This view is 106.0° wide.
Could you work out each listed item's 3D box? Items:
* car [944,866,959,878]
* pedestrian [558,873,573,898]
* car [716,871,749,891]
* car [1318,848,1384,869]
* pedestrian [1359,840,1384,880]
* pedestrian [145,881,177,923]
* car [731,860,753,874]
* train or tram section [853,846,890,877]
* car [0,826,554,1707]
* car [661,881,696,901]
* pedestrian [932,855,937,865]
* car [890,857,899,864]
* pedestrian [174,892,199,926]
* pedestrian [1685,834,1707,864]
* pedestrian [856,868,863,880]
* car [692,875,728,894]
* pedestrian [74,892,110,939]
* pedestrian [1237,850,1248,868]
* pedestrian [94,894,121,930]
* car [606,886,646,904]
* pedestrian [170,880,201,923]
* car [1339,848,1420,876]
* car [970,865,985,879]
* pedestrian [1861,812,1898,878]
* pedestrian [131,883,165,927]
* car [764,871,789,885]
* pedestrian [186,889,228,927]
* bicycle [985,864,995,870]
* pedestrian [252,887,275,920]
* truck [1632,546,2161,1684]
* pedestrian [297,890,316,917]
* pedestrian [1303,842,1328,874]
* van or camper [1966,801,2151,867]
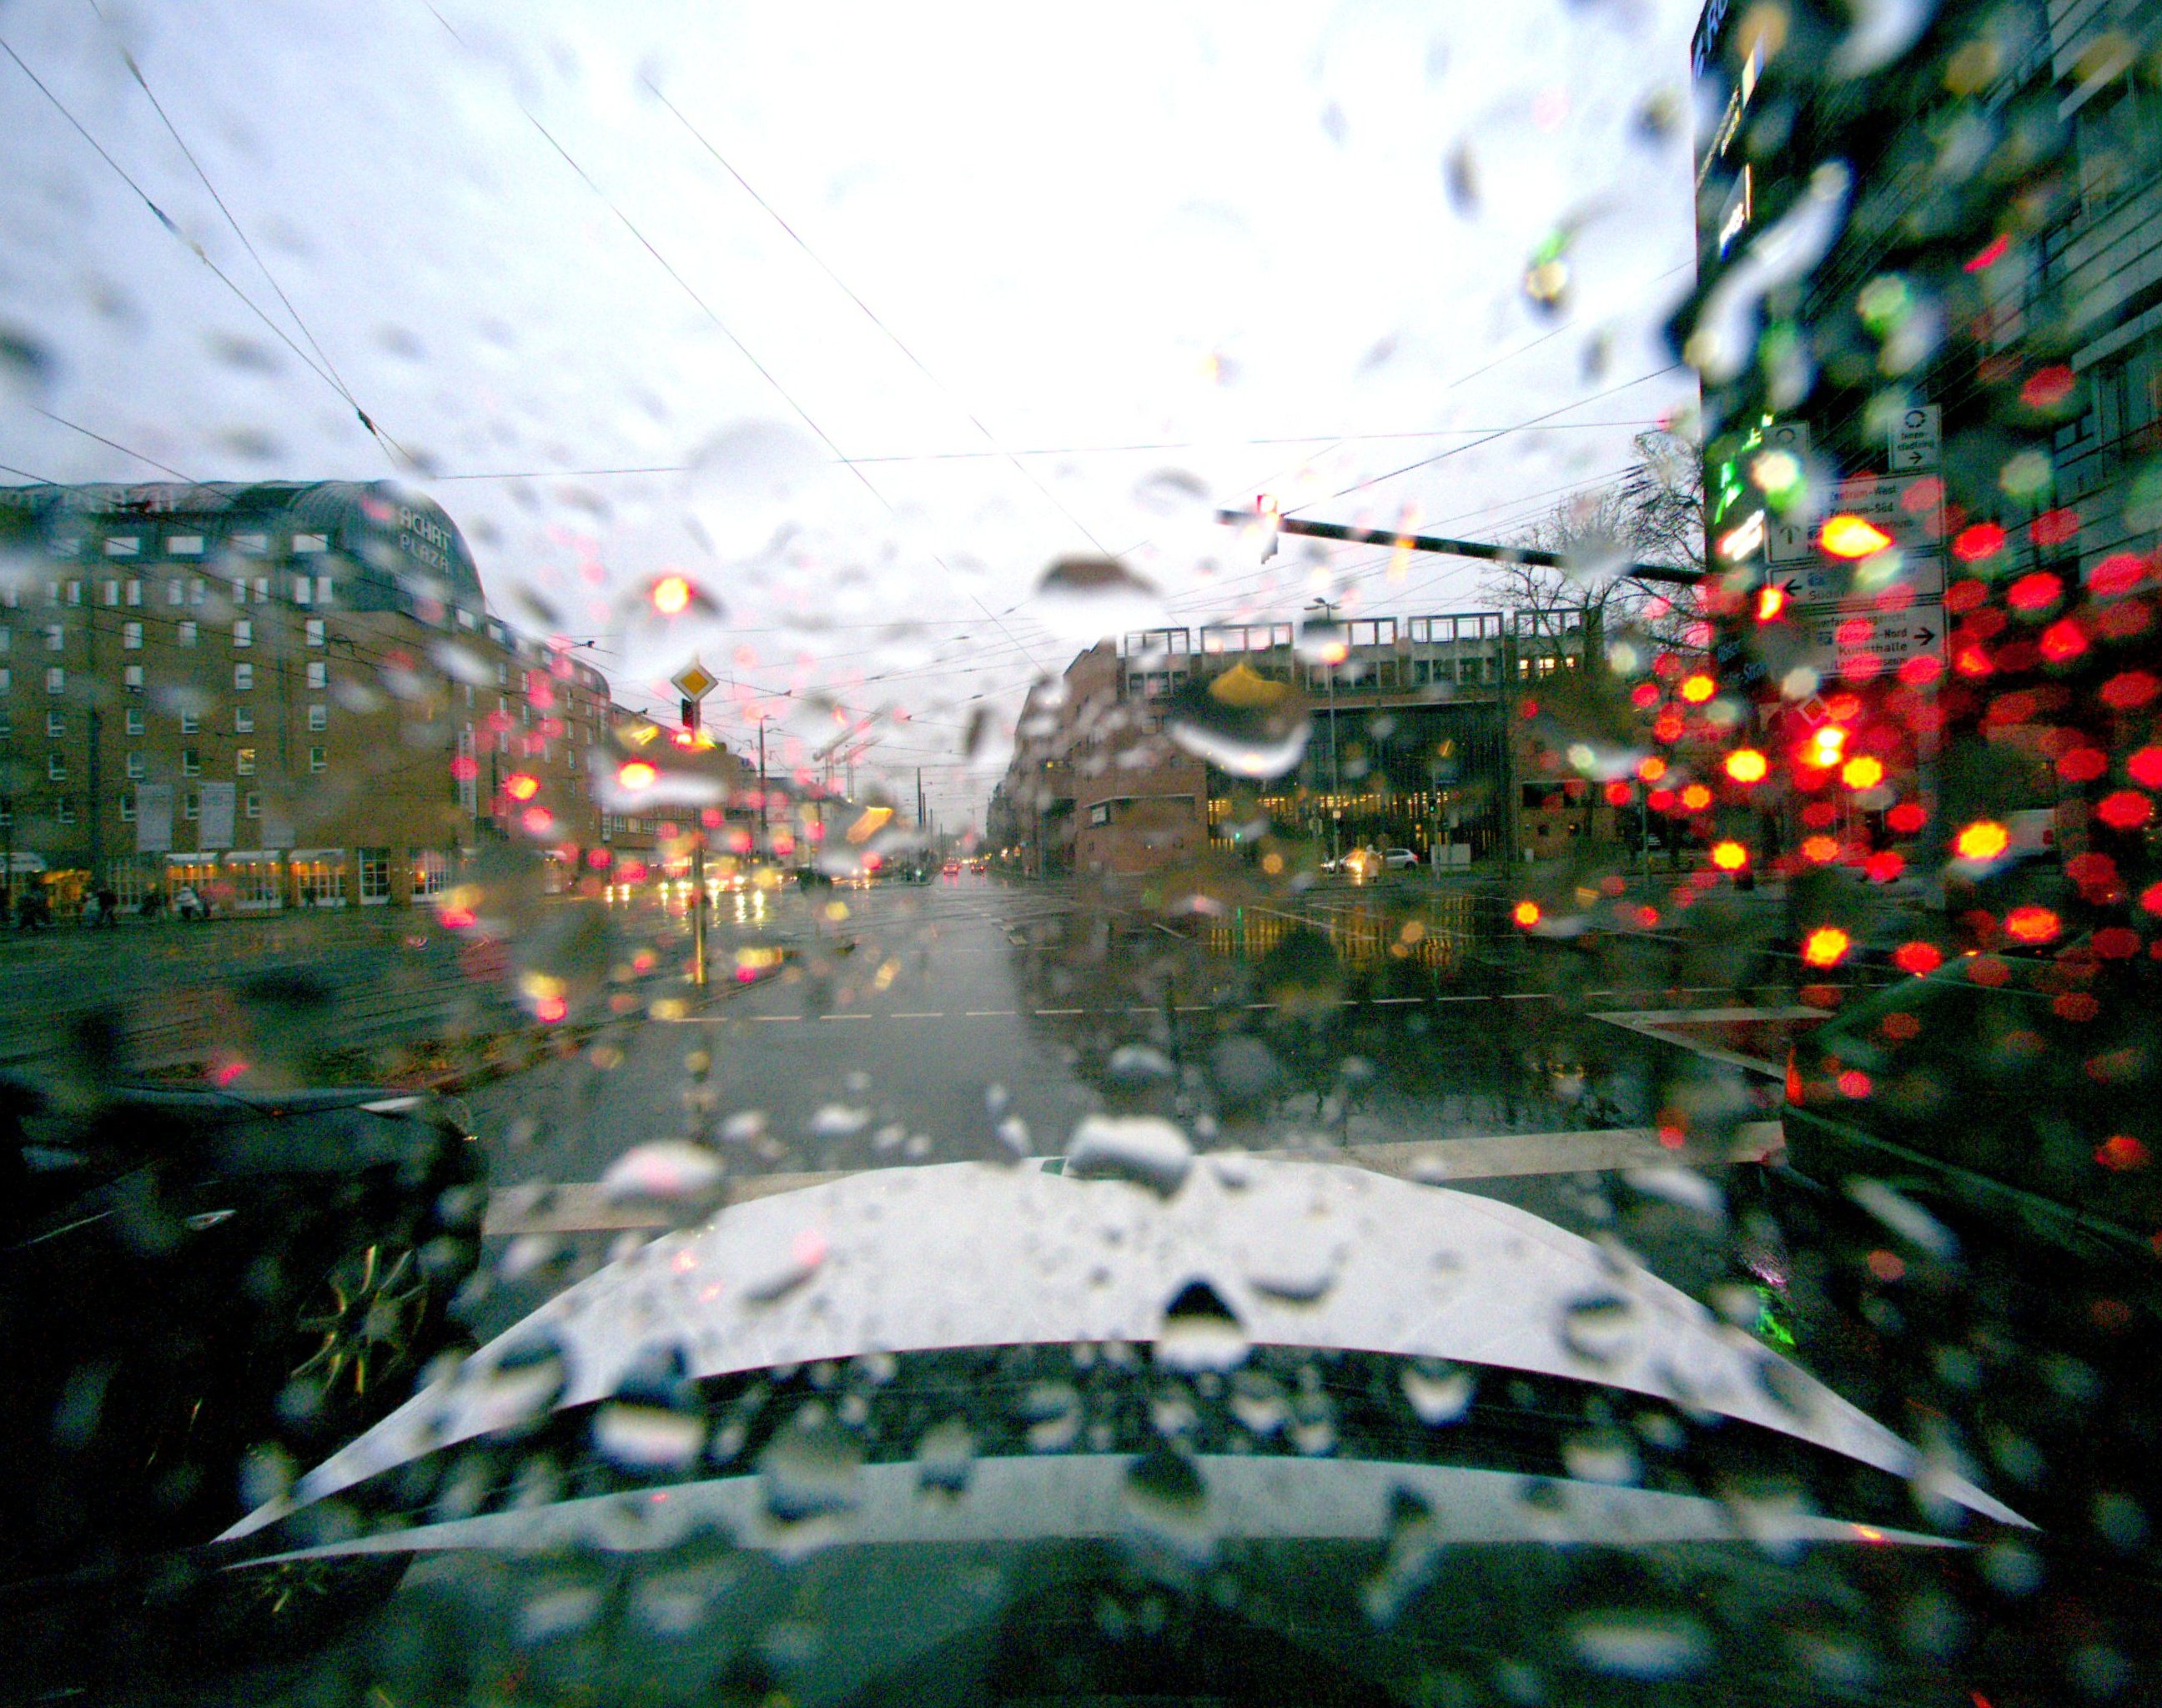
[{"bbox_3d":[-17.365,2.426,109.139,1.782,1.467,3.141,-2,0,-7],"label":"car"},{"bbox_3d":[-42.846,2.582,67.679,0.939,2.014,0.751,-2,-1,-32],"label":"pedestrian"},{"bbox_3d":[-33.745,2.584,78.972,1.828,1.709,4.690,-2,0,-9],"label":"car"},{"bbox_3d":[18.674,0.324,56.392,3.977,1.310,1.810,-2,0,-7],"label":"car"},{"bbox_3d":[13.129,0.273,36.767,0.734,1.787,0.732,-2,0,-12],"label":"pedestrian"},{"bbox_3d":[-45.319,2.352,40.119,0.699,2.014,0.763,-2,-1,17],"label":"pedestrian"},{"bbox_3d":[-47.935,1.811,115.145,1.993,2.014,3.988,0,-1,-9],"label":"car"},{"bbox_3d":[-25.164,0.905,98.239,2.948,3.589,12.220,0,-1,-8],"label":"train or tram section"},{"bbox_3d":[-2.812,0.764,1.015,1.673,1.573,3.763,-2,0,3],"label":"car"},{"bbox_3d":[-35.232,3.224,71.322,1.580,1.495,3.586,-2,0,-7],"label":"car"},{"bbox_3d":[-23.133,0.922,128.843,0.682,1.516,0.614,-1,-1,-21],"label":"pedestrian"},{"bbox_3d":[-40.670,1.383,177.487,1.681,1.354,3.534,-1,-1,-9],"label":"car"},{"bbox_3d":[-42.283,2.608,38.480,0.515,1.538,0.577,-2,0,10],"label":"pedestrian"},{"bbox_3d":[29.483,-0.238,39.042,0.603,1.364,0.478,-2,0,-1],"label":"pedestrian"},{"bbox_3d":[-21.370,1.925,78.475,0.579,1.152,0.489,0,-1,-7],"label":"pedestrian"},{"bbox_3d":[-32.482,2.666,71.447,1.667,1.495,4.190,-2,0,-7],"label":"car"},{"bbox_3d":[-43.765,2.730,36.042,0.699,2.014,0.763,-2,-1,17],"label":"pedestrian"},{"bbox_3d":[12.593,0.386,63.442,0.732,1.389,0.740,-2,0,12],"label":"pedestrian"},{"bbox_3d":[-43.178,2.556,36.120,0.515,1.538,0.577,-2,0,10],"label":"pedestrian"},{"bbox_3d":[-40.087,3.609,71.792,1.611,1.321,4.216,-2,0,-8],"label":"car"},{"bbox_3d":[-43.201,2.299,39.297,0.699,2.014,0.763,-2,-1,17],"label":"pedestrian"},{"bbox_3d":[17.239,0.452,47.178,3.976,1.341,1.810,-4,0,-6],"label":"car"},{"bbox_3d":[-15.411,2.688,121.476,1.991,2.013,3.991,-2,0,-7],"label":"car"},{"bbox_3d":[22.305,-0.242,22.748,0.805,1.811,0.643,-2,-1,-42],"label":"pedestrian"},{"bbox_3d":[-43.744,2.372,38.184,0.755,2.014,0.706,-2,-1,-5],"label":"pedestrian"},{"bbox_3d":[-30.350,2.362,81.218,1.681,1.354,3.534,-1,-1,-9],"label":"car"},{"bbox_3d":[-45.371,2.802,42.293,0.852,1.899,1.165,-2,0,10],"label":"pedestrian"},{"bbox_3d":[-17.115,2.463,153.143,1.730,1.055,0.370,-3,0,-10],"label":"bicycle"},{"bbox_3d":[-39.901,2.403,39.766,0.515,1.538,0.577,-2,0,10],"label":"pedestrian"},{"bbox_3d":[2.761,0.436,0.386,1.898,1.917,4.616,0,0,0],"label":"truck"},{"bbox_3d":[-45.972,2.954,48.338,0.515,1.538,0.577,-2,0,10],"label":"pedestrian"},{"bbox_3d":[13.812,0.242,47.962,1.148,1.787,0.775,-2,0,-8],"label":"pedestrian"},{"bbox_3d":[30.627,-0.617,25.536,4.739,1.929,1.832,-2,0,-14],"label":"van or camper"}]
